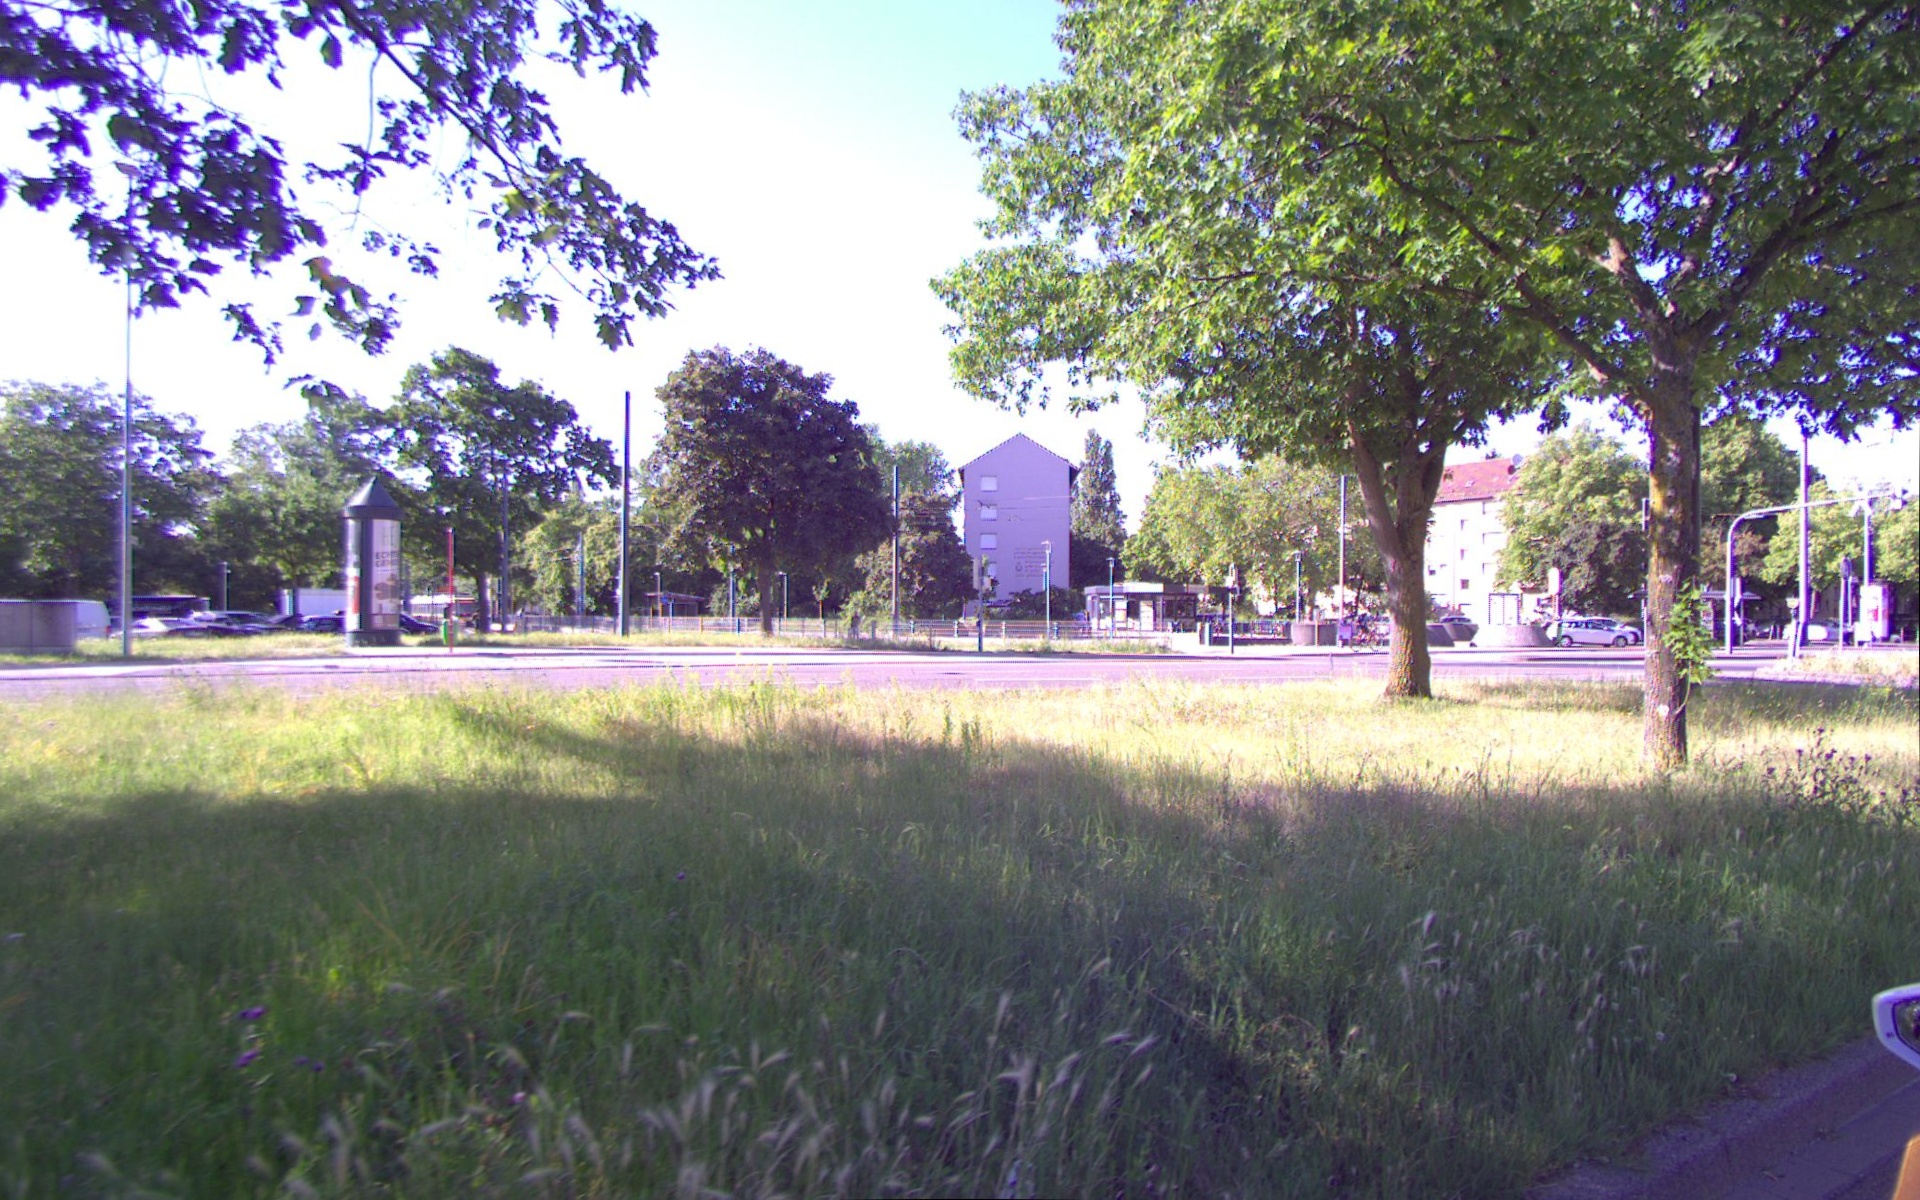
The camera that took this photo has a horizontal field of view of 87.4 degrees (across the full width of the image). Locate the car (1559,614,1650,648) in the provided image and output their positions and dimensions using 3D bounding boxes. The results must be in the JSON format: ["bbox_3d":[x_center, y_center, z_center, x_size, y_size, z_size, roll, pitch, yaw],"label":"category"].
[{"bbox_3d":[35.841,1.707,55.903,3.923,1.741,1.762,0,3,-4],"label":"car"}]

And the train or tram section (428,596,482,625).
[{"bbox_3d":[-55.517,1.090,110.037,2.445,2.979,19.649,1,-1,-35],"label":"train or tram section"}]

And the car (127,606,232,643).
[{"bbox_3d":[-29.292,0.891,37.678,3.933,1.299,1.994,0,-1,34],"label":"car"}]

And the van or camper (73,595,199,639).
[{"bbox_3d":[-40.445,0.848,49.417,4.327,2.124,1.994,1,0,-15],"label":"van or camper"}]

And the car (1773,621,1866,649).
[{"bbox_3d":[51.906,2.080,60.691,1.982,1.593,3.958,1,-2,-37],"label":"car"}]

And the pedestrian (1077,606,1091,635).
[{"bbox_3d":[8.018,1.348,64.927,0.714,1.853,0.558,1,0,-10],"label":"pedestrian"}]

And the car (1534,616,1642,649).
[{"bbox_3d":[33.466,1.708,53.655,4.457,1.565,1.873,1,2,13],"label":"car"}]

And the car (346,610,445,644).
[{"bbox_3d":[-27.900,1.310,49.701,3.970,1.588,1.976,1,0,-42],"label":"car"}]

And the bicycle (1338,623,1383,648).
[{"bbox_3d":[16.573,1.469,41.575,1.627,1.014,0.613,0,1,-6],"label":"bicycle"}]

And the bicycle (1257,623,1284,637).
[{"bbox_3d":[19.932,1.931,64.515,1.652,0.850,0.548,0,0,17],"label":"bicycle"}]

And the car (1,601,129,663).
[{"bbox_3d":[-31.483,1.059,35.310,4.916,2.040,2.233,0,-1,34],"label":"car"}]

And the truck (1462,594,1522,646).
[{"bbox_3d":[32.183,1.167,60.917,1.959,3.035,4.831,0,0,12],"label":"truck"}]

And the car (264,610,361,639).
[{"bbox_3d":[-33.165,1.239,51.473,3.970,1.433,1.750,1,0,-42],"label":"car"}]

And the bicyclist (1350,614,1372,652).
[{"bbox_3d":[16.585,1.346,41.570,0.663,1.551,0.613,0,1,-5],"label":"bicyclist"}]

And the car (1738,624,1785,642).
[{"bbox_3d":[60.602,2.465,75.940,3.659,1.310,1.586,1,-1,-31],"label":"car"}]
